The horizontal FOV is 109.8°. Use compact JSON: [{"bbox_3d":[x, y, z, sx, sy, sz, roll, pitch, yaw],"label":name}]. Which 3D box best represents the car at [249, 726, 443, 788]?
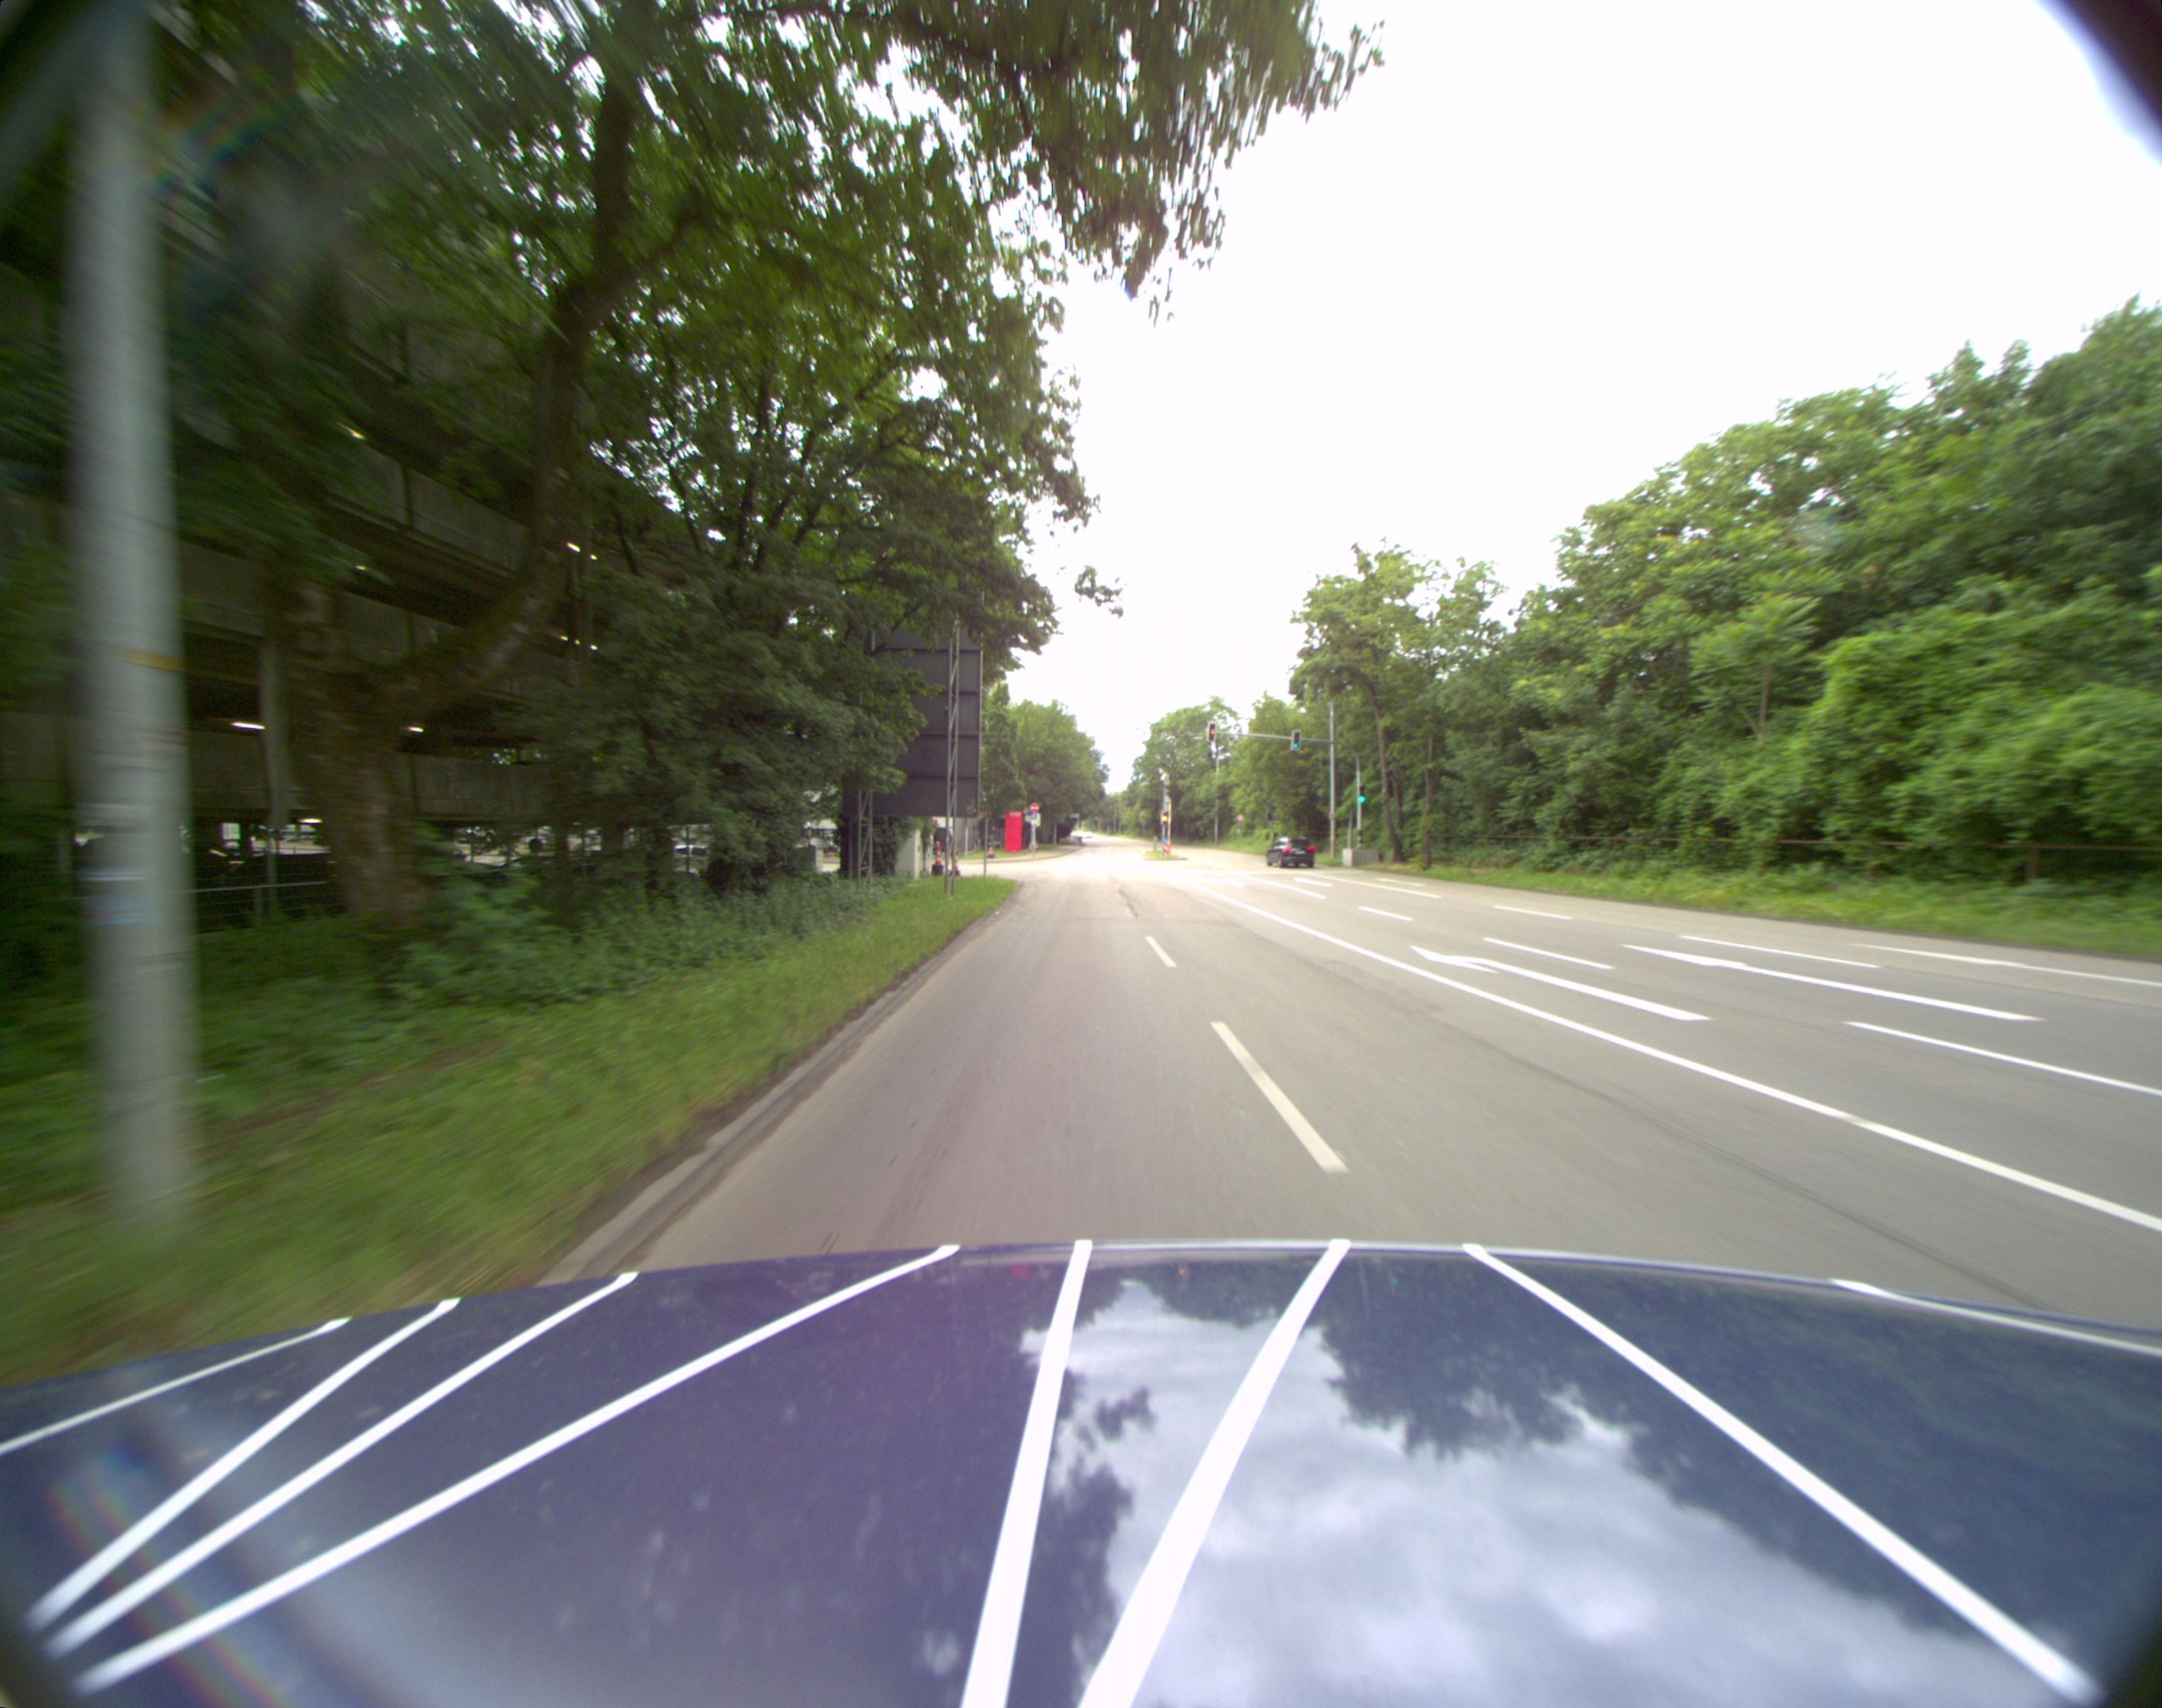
[{"bbox_3d":[-15.926,-2.086,16.557,2.894,1.240,1.355,1,4,2],"label":"car"}]

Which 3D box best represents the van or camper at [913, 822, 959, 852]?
[{"bbox_3d":[-10.648,-1.191,56.266,2.168,2.098,5.645,1,0,2],"label":"van or camper"}]

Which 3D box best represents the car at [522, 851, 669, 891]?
[{"bbox_3d":[-15.343,0.522,24.110,3.637,1.155,1.622,1,2,4],"label":"car"}]

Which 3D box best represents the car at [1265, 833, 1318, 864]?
[{"bbox_3d":[11.608,-0.347,42.186,1.826,1.644,4.220,-1,2,0],"label":"car"}]

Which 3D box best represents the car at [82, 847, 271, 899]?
[{"bbox_3d":[-26.479,0.536,22.317,3.772,1.357,1.522,1,3,2],"label":"car"}]

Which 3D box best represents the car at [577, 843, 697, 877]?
[{"bbox_3d":[-15.388,0.190,26.421,3.251,1.081,1.538,1,2,2],"label":"car"}]

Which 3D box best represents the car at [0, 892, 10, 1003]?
[{"bbox_3d":[-16.443,1.227,9.251,4.452,1.448,1.710,1,4,2],"label":"car"}]
